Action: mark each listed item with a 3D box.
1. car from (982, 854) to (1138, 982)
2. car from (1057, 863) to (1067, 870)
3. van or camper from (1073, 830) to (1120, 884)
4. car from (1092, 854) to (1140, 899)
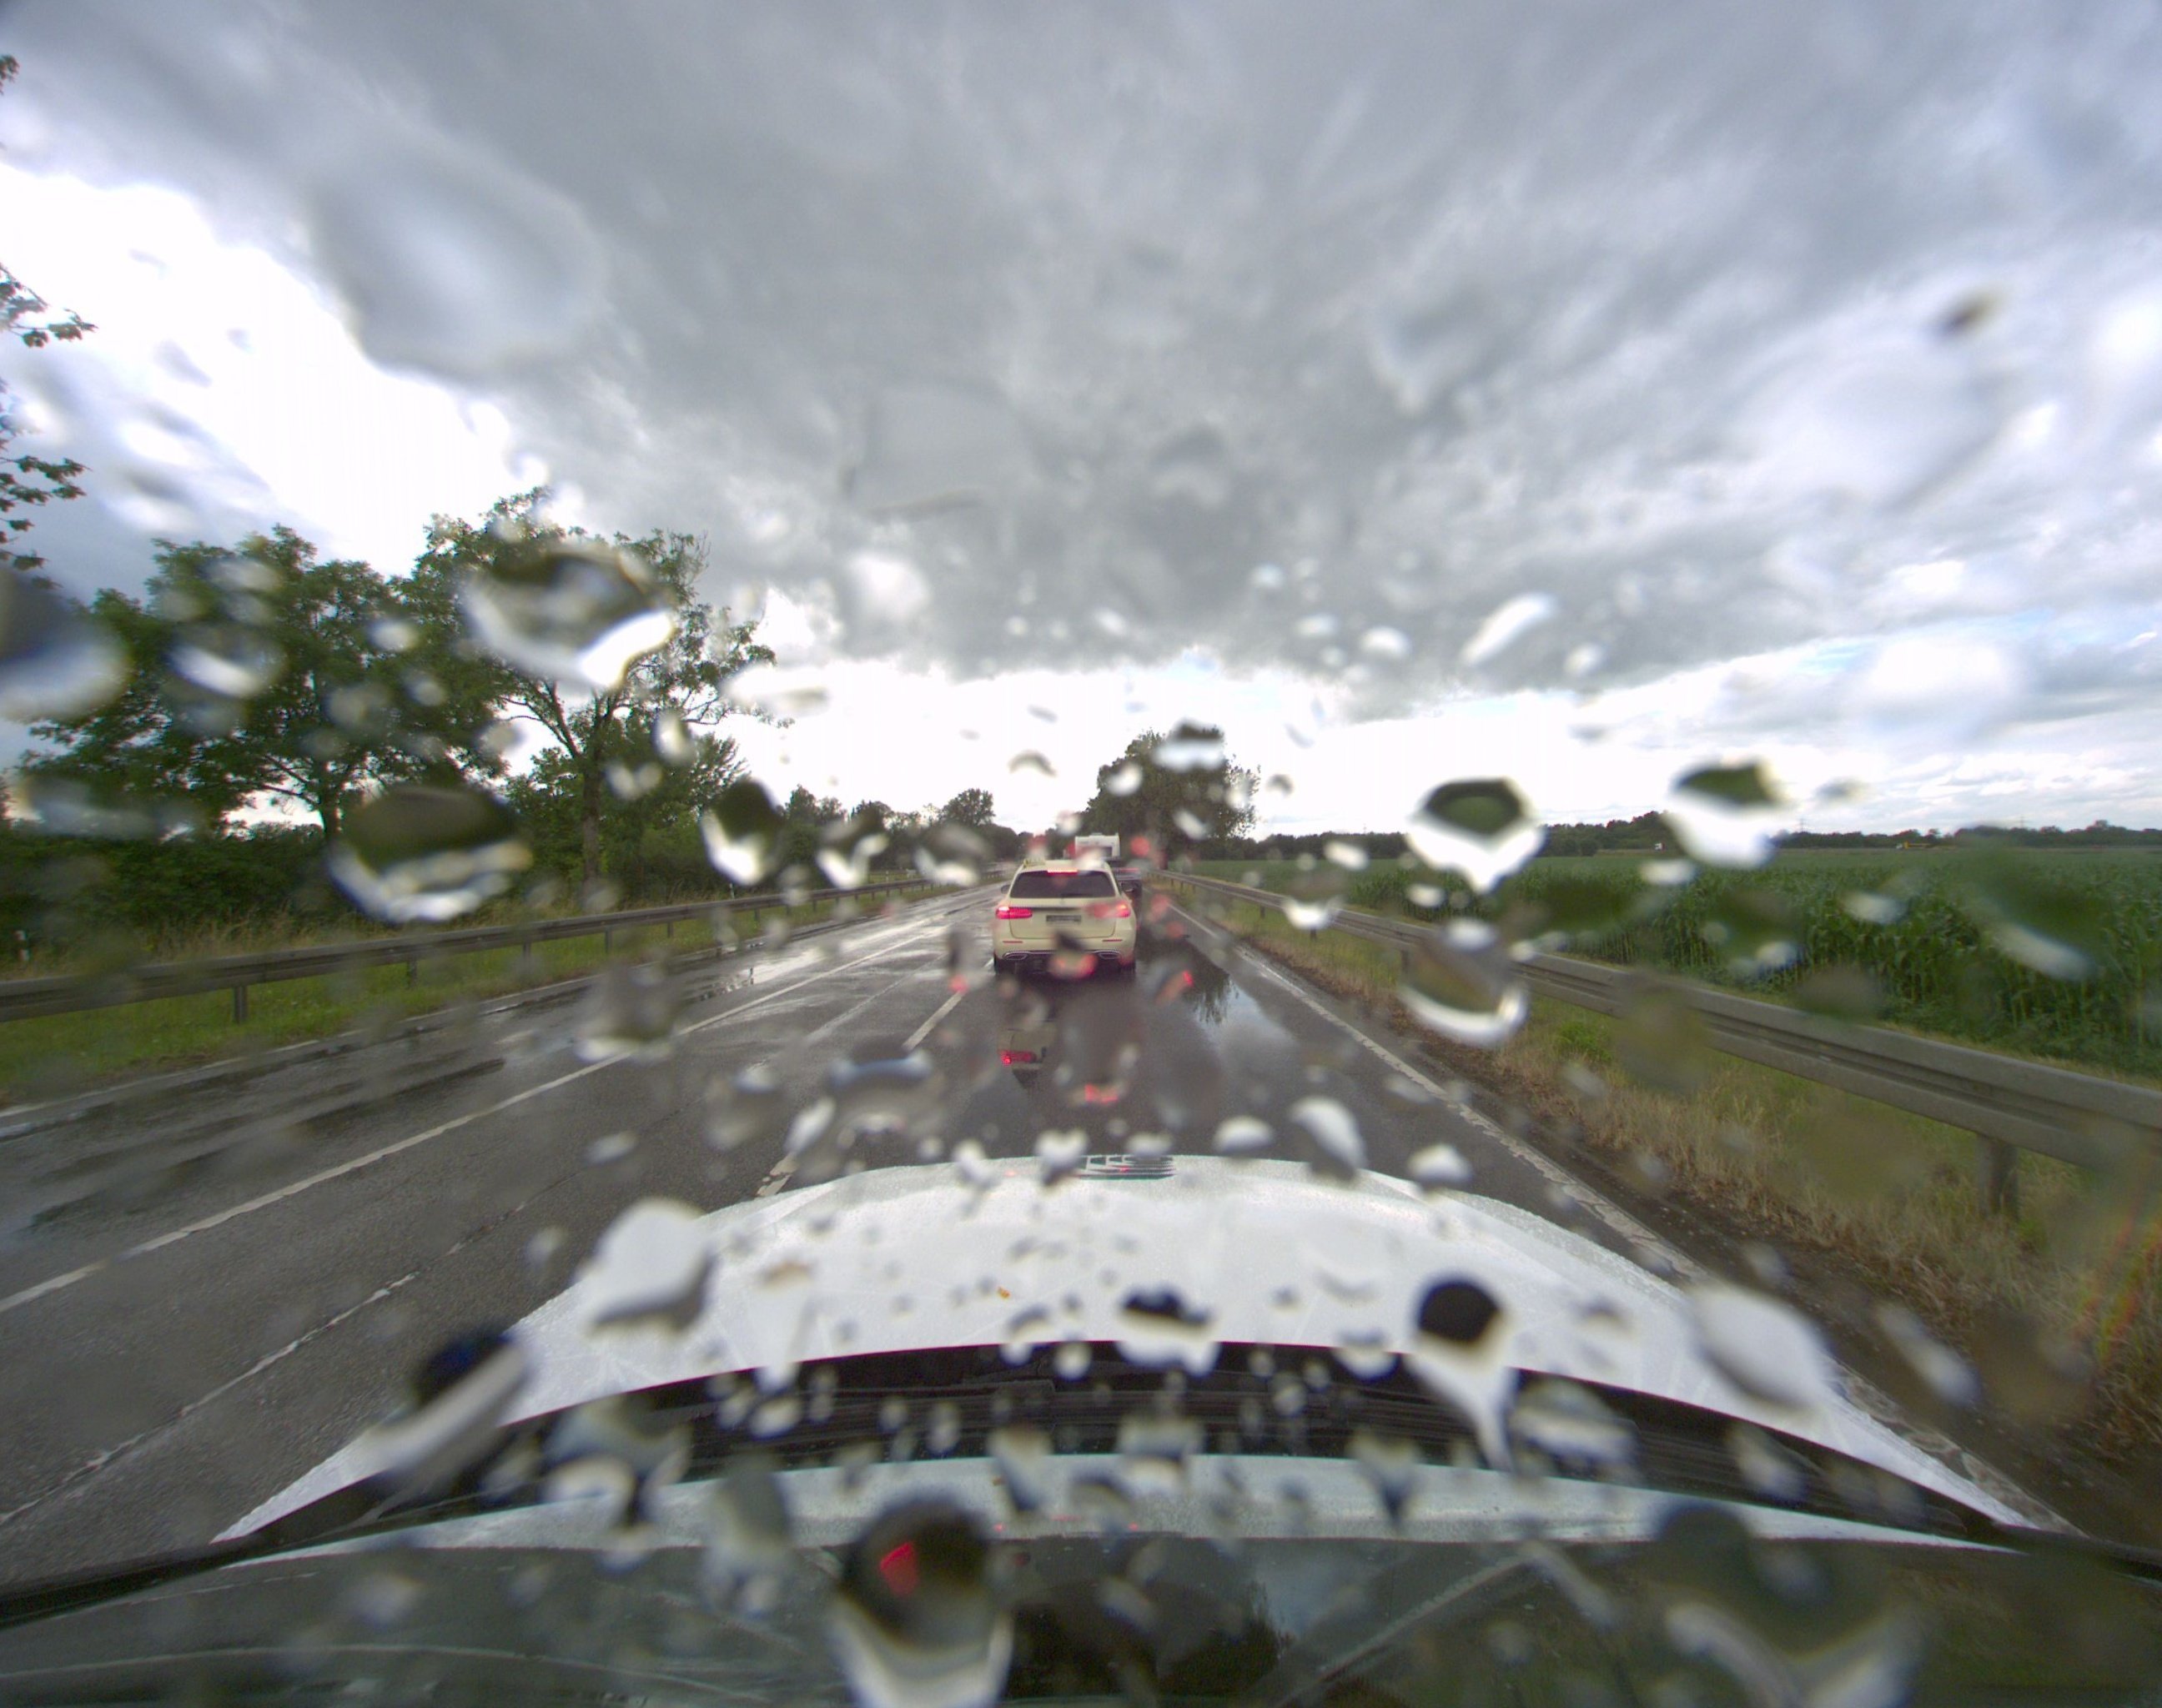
[{"bbox_3d":[-0.139,0.762,11.643,1.817,1.485,4.148,-1,0,3],"label":"car"},{"bbox_3d":[-3.621,2.412,155.555,1.752,1.269,4.002,-1,0,2],"label":"car"},{"bbox_3d":[0.877,0.149,43.983,2.342,2.680,5.771,-1,0,2],"label":"van or camper"},{"bbox_3d":[1.291,0.798,30.456,1.621,1.529,3.934,-1,0,2],"label":"car"}]
